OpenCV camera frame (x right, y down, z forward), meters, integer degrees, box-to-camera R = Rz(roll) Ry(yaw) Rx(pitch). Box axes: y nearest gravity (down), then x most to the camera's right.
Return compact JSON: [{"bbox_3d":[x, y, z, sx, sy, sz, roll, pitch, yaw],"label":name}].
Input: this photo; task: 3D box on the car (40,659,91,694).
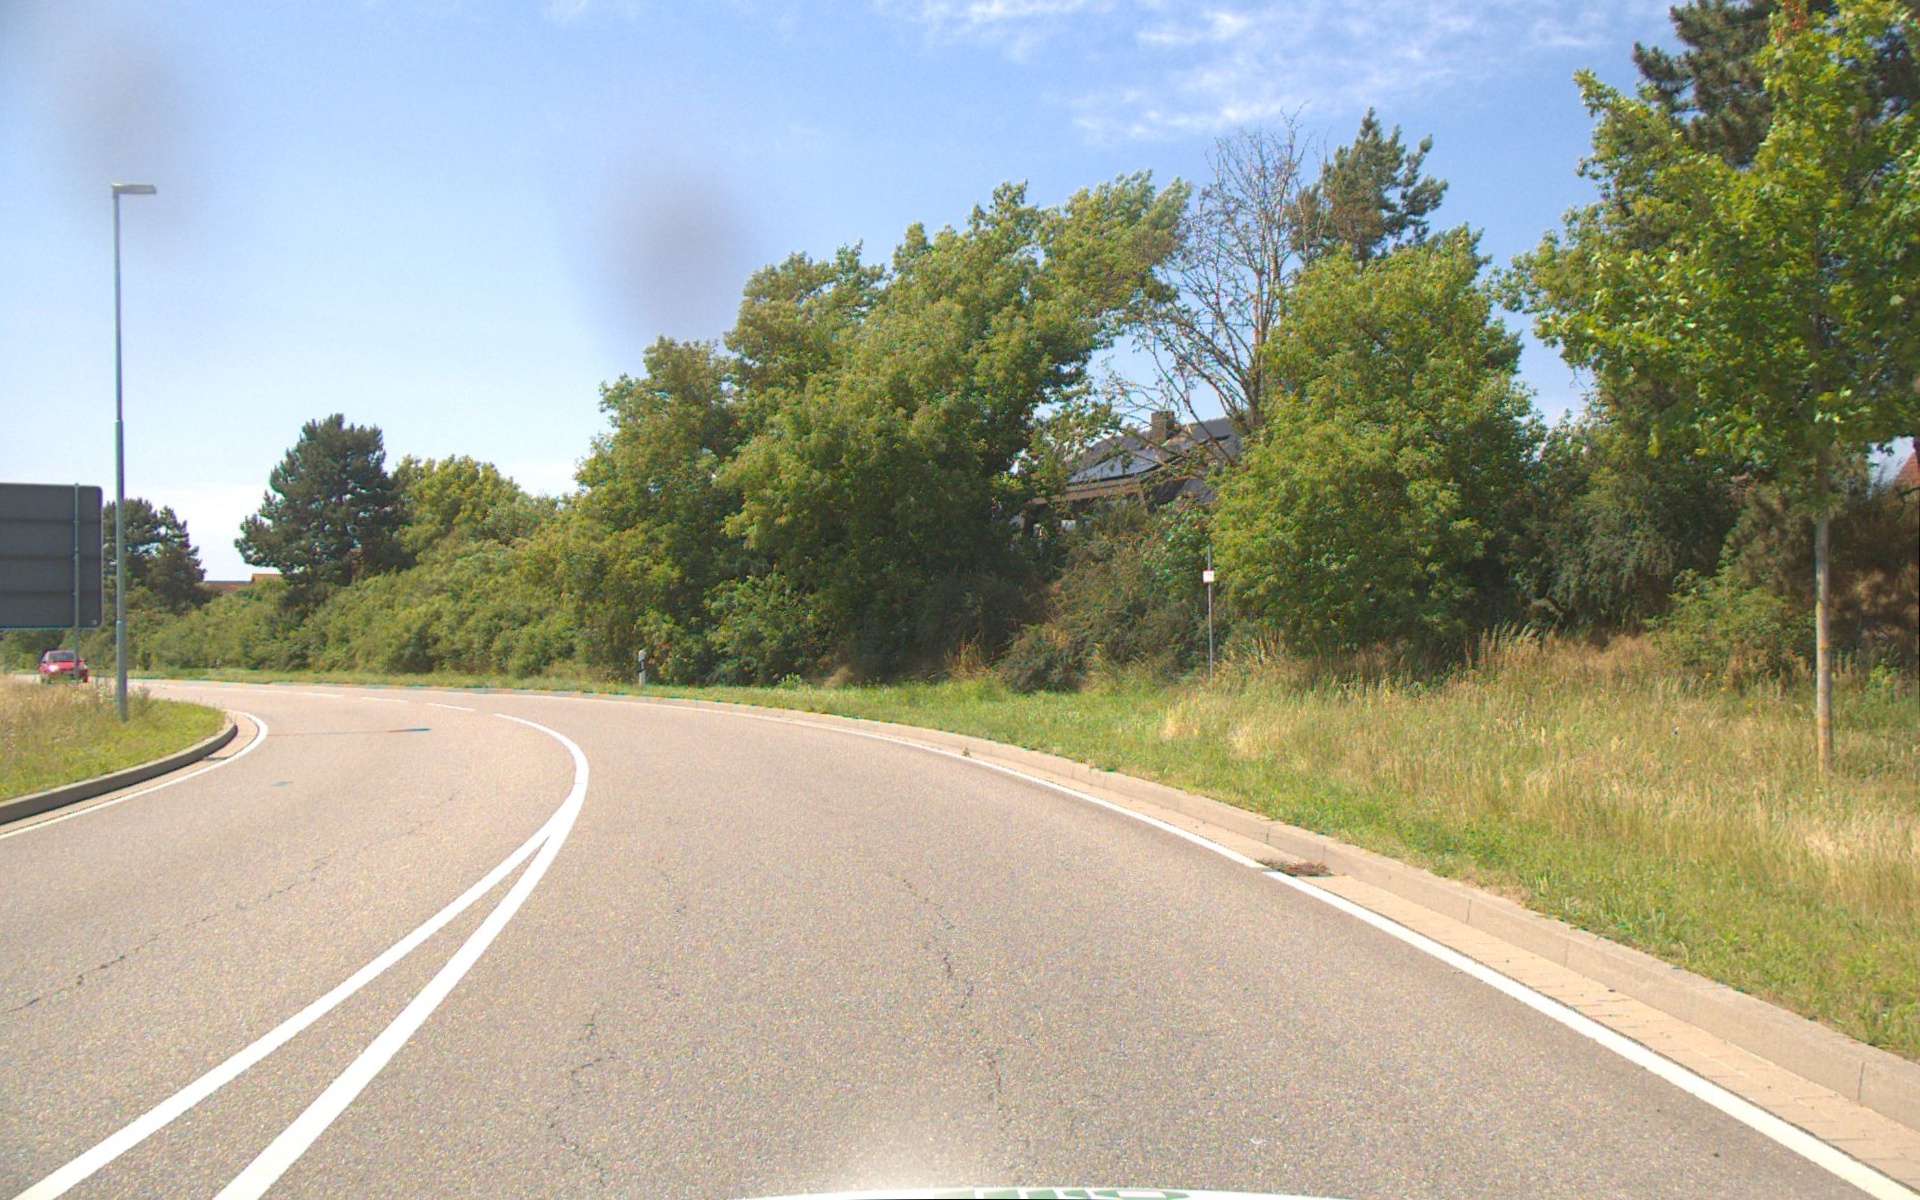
[{"bbox_3d":[-40.623,3.457,75.082,1.642,1.458,3.690,-2,-1,-35],"label":"car"}]
